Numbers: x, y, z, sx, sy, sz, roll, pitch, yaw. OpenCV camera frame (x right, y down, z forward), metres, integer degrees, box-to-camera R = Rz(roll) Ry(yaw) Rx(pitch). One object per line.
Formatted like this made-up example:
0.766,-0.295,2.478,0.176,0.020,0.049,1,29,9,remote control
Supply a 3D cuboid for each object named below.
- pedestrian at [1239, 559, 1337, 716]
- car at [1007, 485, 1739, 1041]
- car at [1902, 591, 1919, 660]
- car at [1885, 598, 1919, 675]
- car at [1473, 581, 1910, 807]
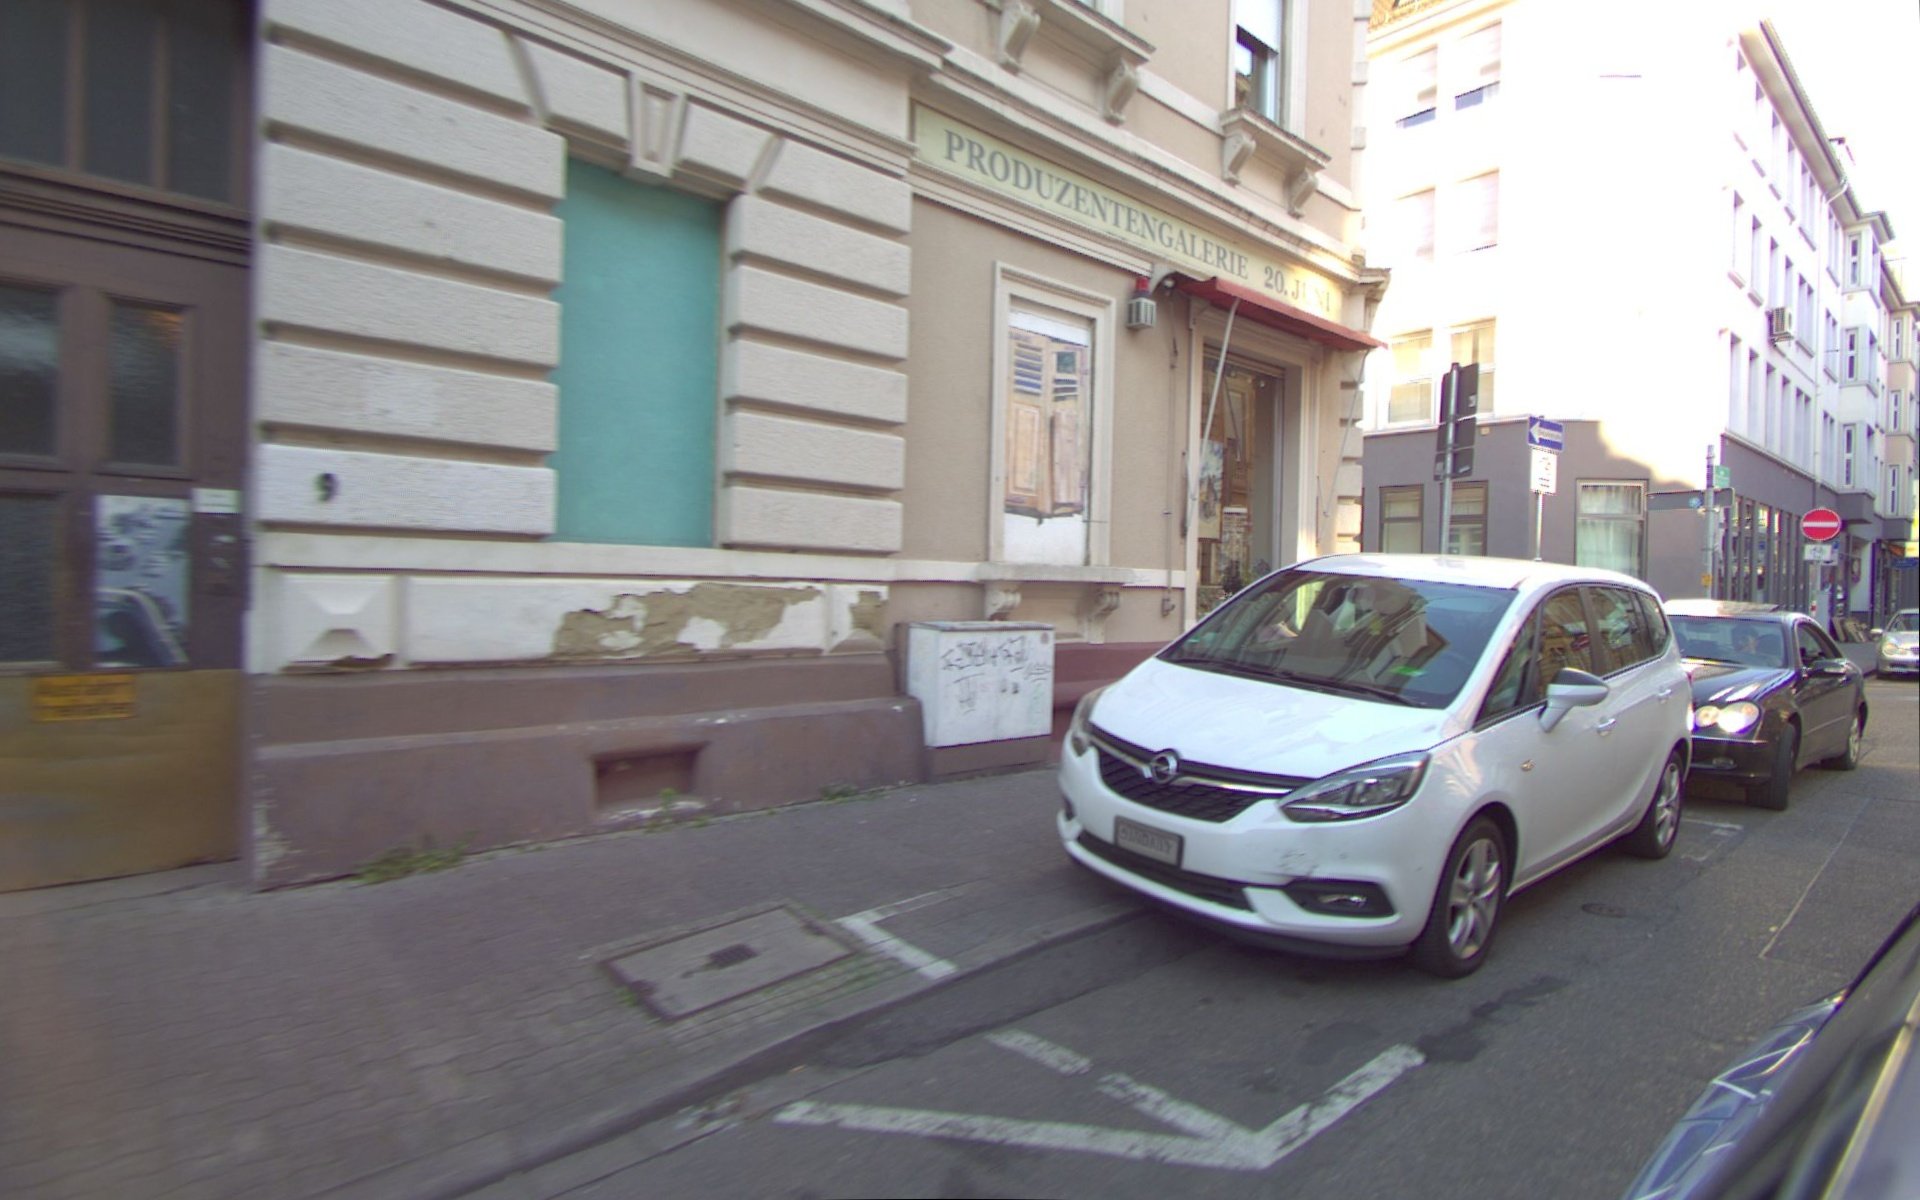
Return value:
3.242,0.347,10.028,0.570,1.490,0.716,0,1,-41,pedestrian
2.458,0.509,5.328,4.384,1.745,1.820,1,1,-42,car
23.677,0.612,23.698,4.046,1.544,2.011,1,1,-42,car
19.643,0.701,19.998,4.414,1.420,1.752,1,-1,-44,car
6.429,0.613,8.676,4.644,1.426,1.888,1,1,-39,car
